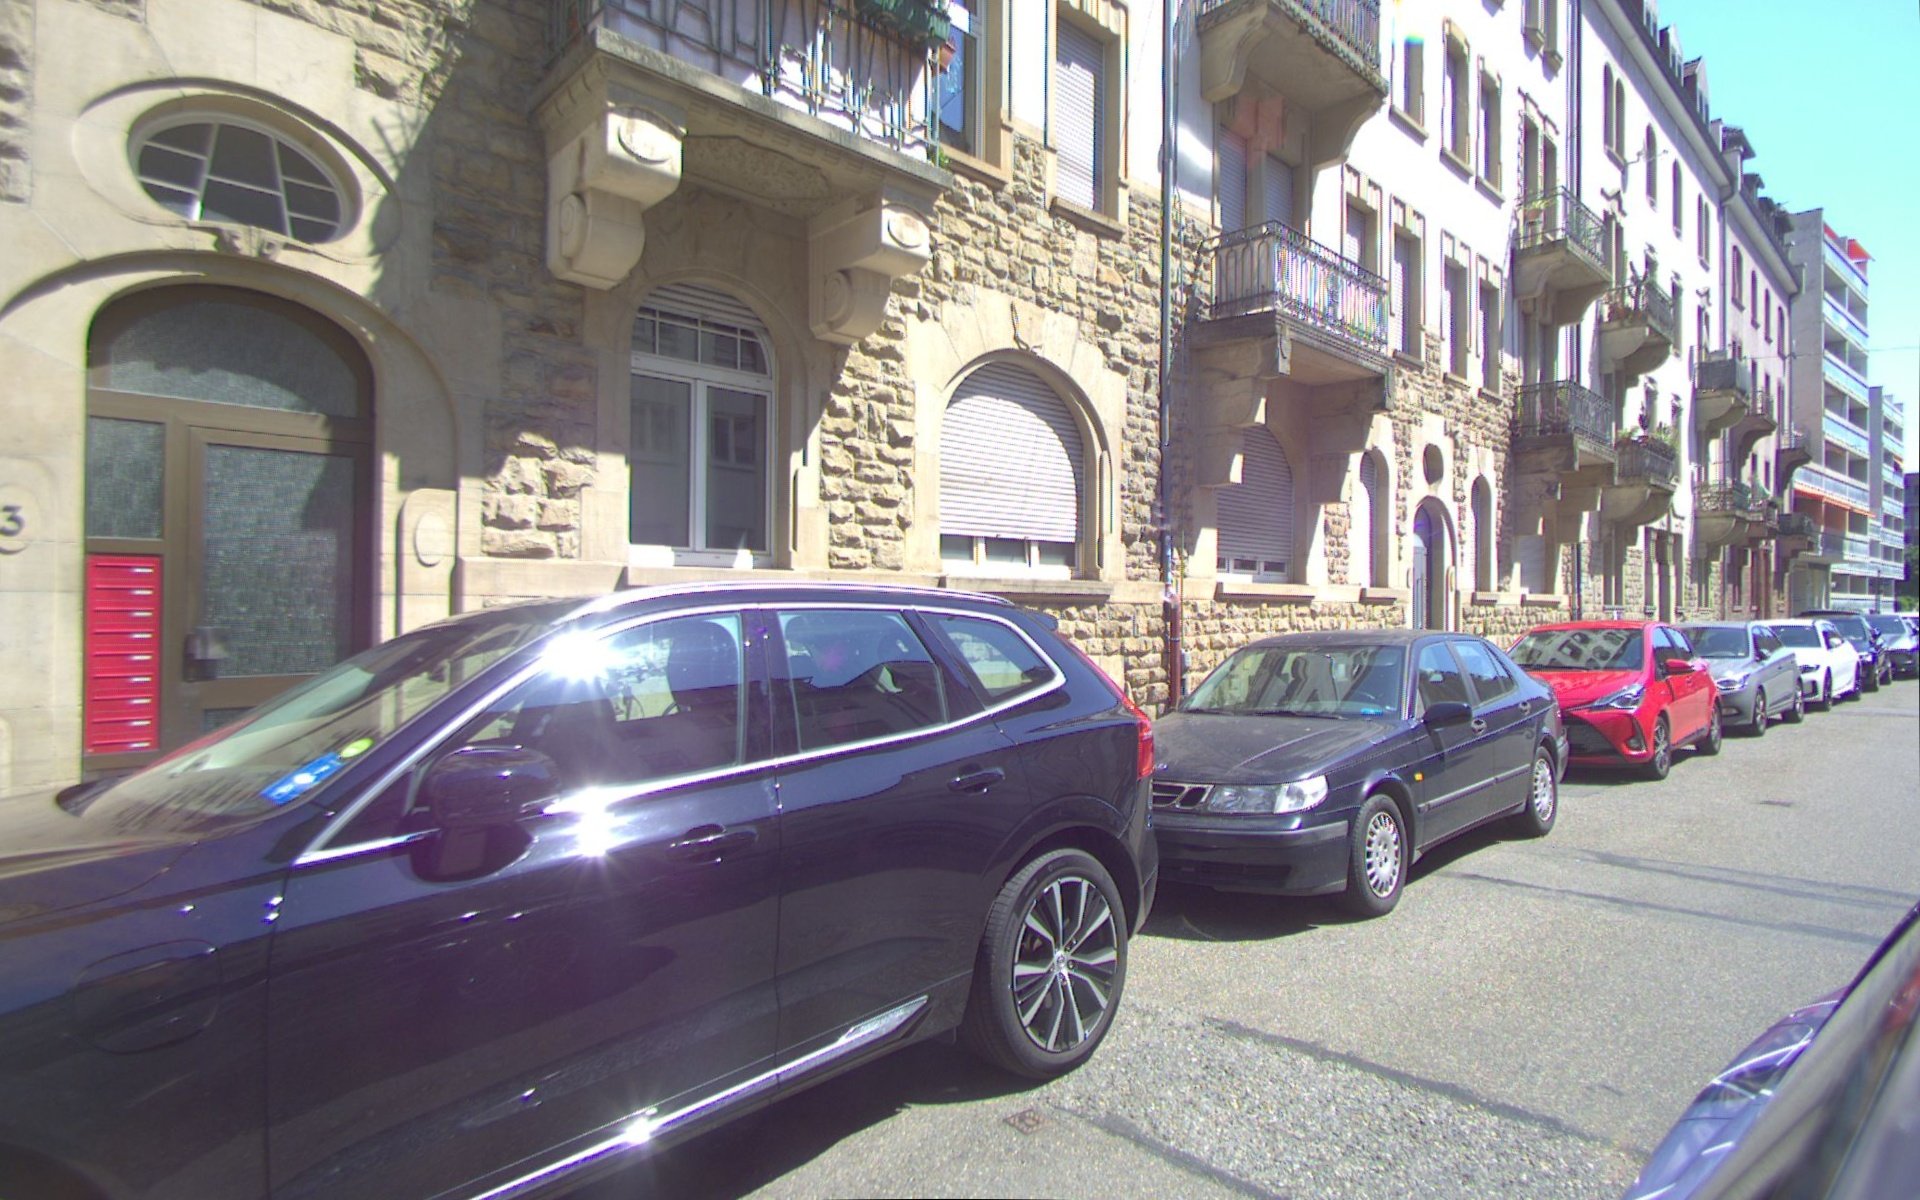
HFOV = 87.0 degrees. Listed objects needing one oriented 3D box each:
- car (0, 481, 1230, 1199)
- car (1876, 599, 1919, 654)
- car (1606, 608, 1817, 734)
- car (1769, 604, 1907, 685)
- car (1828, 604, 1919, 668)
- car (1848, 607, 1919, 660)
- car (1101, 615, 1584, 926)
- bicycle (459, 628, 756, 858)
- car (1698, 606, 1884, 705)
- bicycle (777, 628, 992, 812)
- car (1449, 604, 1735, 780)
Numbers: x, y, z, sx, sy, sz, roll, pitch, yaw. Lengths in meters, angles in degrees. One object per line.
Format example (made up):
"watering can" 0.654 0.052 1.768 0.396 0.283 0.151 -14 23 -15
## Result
"car" -1.215 0.639 3.006 4.530 1.587 1.833 0 -2 -45
"car" 30.730 0.812 32.267 4.017 1.642 1.652 0 1 -39
"car" 10.529 0.891 14.083 3.790 1.471 1.591 0 -2 -42
"car" 18.571 0.846 21.324 4.590 1.476 1.738 0 1 -43
"car" 22.996 0.836 25.164 1.824 1.450 4.416 -1 -1 45
"car" 26.961 0.916 29.049 4.278 1.375 1.788 0 0 -43
"car" 2.739 0.848 6.725 1.512 1.417 3.908 -3 -2 45
"bicycle" -2.145 0.813 6.344 1.744 1.223 0.385 0 0 -42
"car" 14.557 0.889 17.641 4.516 1.471 1.719 0 -2 -41
"bicycle" -0.534 0.854 7.782 1.744 1.223 0.442 0 0 -42
"car" 6.671 0.818 10.522 3.778 1.471 1.571 0 -2 -43
